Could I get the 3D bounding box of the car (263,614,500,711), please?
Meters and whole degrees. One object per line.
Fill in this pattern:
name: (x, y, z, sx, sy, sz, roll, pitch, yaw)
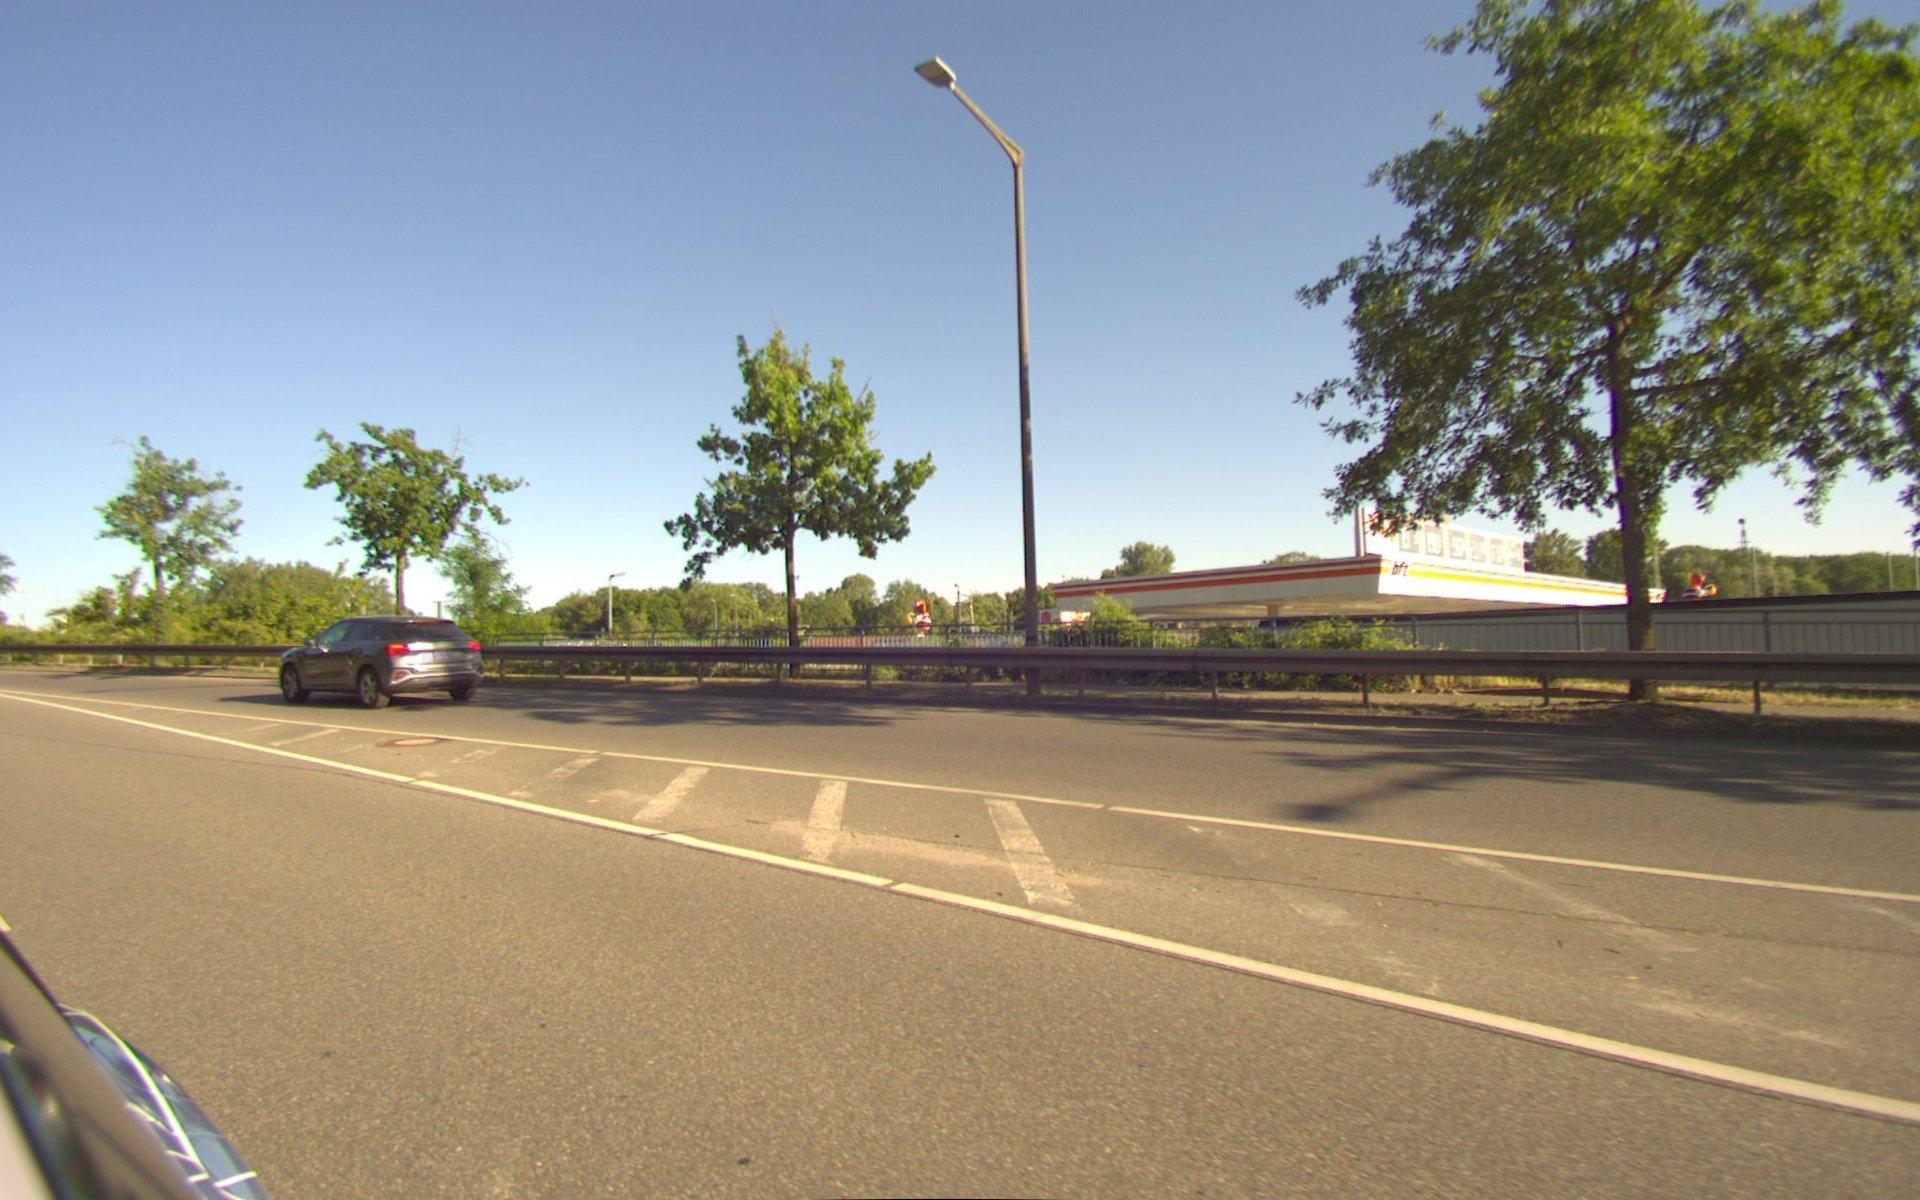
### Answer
car: (-10.143, 1.033, 17.667, 4.261, 1.500, 1.749, -2, -1, 31)
